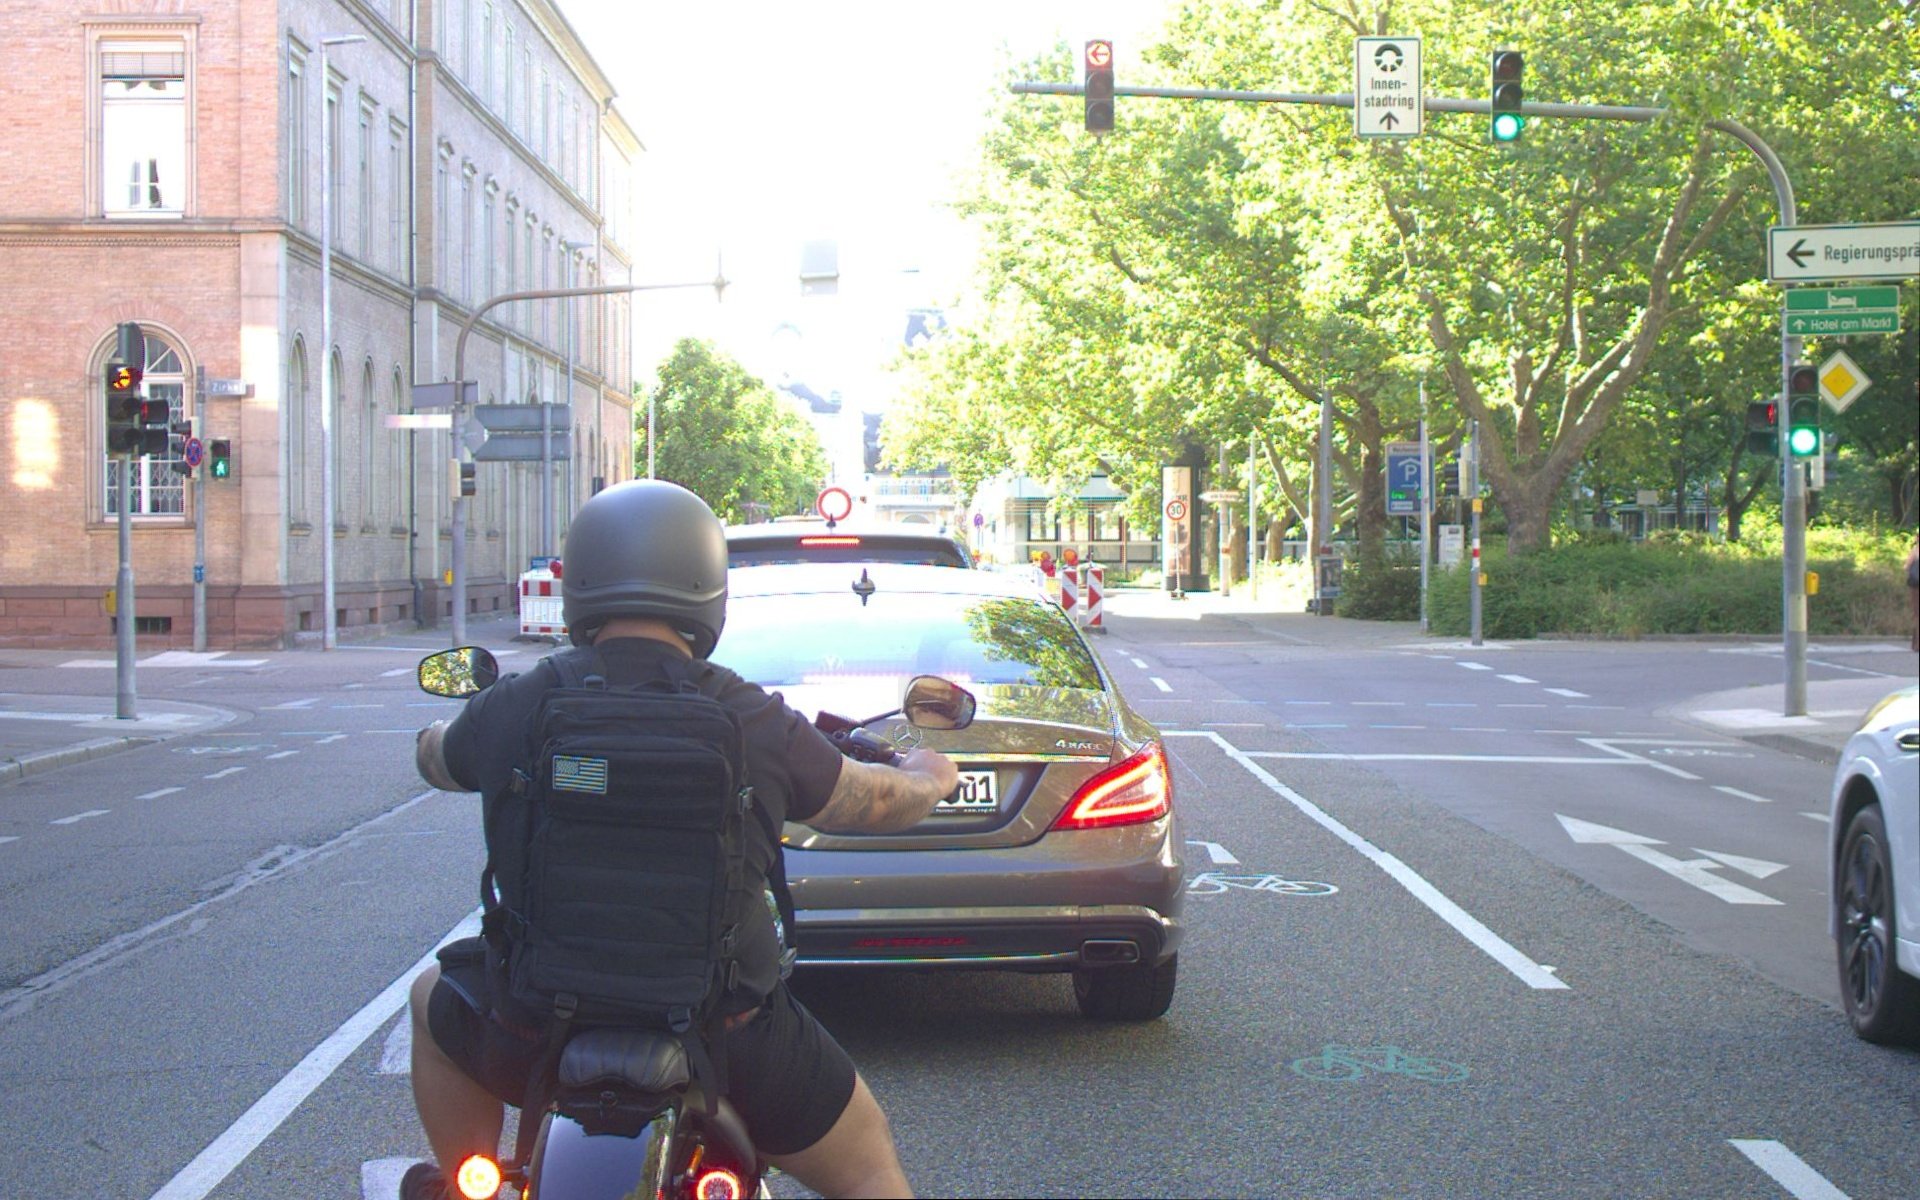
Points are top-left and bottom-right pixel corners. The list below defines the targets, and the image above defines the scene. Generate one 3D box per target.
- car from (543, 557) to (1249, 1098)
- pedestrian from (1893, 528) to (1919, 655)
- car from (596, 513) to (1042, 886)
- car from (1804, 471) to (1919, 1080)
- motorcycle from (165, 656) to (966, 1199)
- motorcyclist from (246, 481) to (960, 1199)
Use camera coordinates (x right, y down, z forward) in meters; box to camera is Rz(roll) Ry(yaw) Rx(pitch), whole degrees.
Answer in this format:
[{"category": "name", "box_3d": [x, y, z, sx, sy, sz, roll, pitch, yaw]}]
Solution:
[{"category": "car", "box_3d": [-0.428, 0.589, 11.639, 1.869, 1.439, 4.431, 0, 1, -8]}, {"category": "pedestrian", "box_3d": [13.466, -0.120, 48.007, 0.678, 1.766, 0.616, 1, 0, 29]}, {"category": "car", "box_3d": [-0.662, 0.431, 17.561, 1.993, 1.660, 4.000, 1, 1, -1]}, {"category": "car", "box_3d": [3.657, 0.530, 8.750, 1.943, 1.702, 4.483, 1, 1, 1]}, {"category": "motorcycle", "box_3d": [-0.497, 0.765, 5.426, 0.980, 1.271, 2.407, 0, 1, -1]}, {"category": "motorcyclist", "box_3d": [-0.497, 0.611, 5.356, 0.980, 1.573, 1.248, 0, 1, -1]}]
